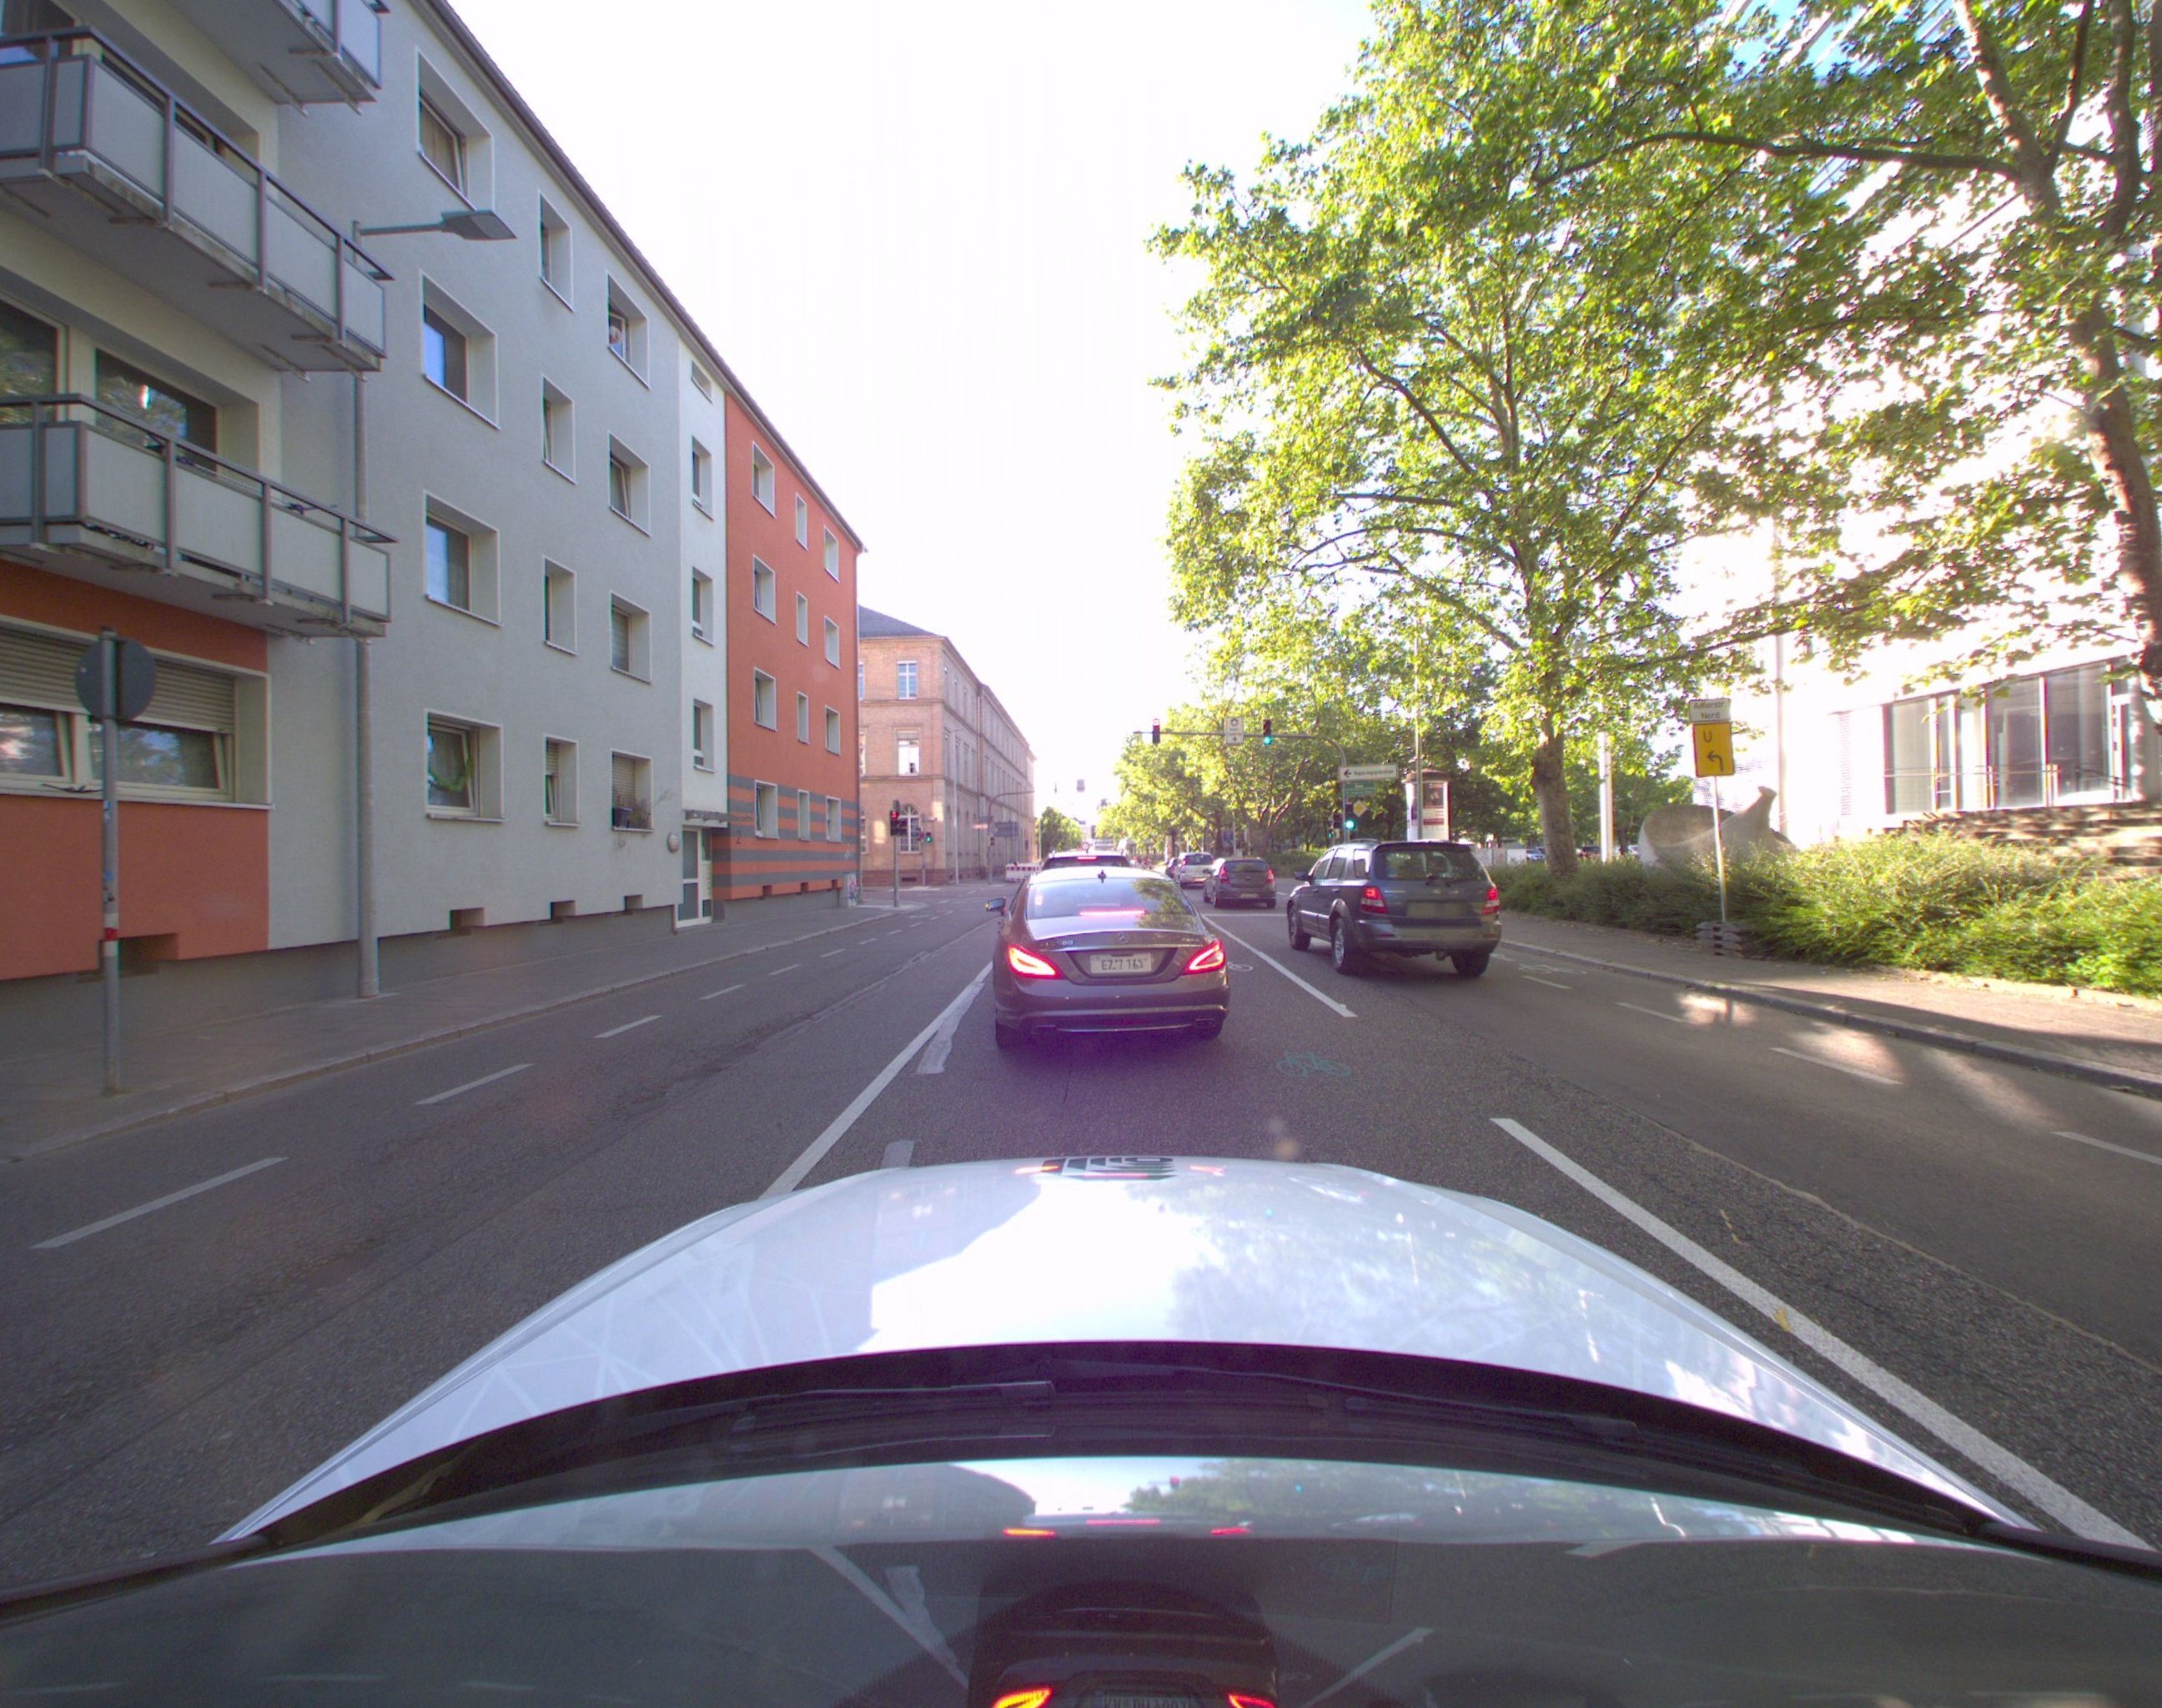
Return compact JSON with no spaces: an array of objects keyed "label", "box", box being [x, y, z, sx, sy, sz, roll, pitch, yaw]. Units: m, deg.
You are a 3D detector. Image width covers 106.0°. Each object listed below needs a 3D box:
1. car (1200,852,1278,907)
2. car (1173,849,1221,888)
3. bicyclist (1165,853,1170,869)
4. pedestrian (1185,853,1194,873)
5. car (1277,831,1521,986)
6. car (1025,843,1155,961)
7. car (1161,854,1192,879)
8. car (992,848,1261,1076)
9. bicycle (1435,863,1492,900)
[{"label":"car","box":[4.703,0.716,24.718,1.698,1.519,4.002,-1,0,2]},{"label":"car","box":[5.162,0.645,36.599,1.725,1.662,3.682,0,-1,2]},{"label":"bicyclist","box":[11.138,0.848,104.975,0.593,2.039,0.566,0,-1,-3]},{"label":"pedestrian","box":[9.519,0.791,71.425,0.634,1.760,0.698,0,-1,-2]},{"label":"car","box":[4.205,0.633,11.650,1.854,1.764,4.483,-1,0,2]},{"label":"car","box":[0.193,0.695,13.739,1.854,1.682,4.002,-1,0,2]},{"label":"car","box":[5.994,0.774,51.316,1.595,1.549,3.682,0,-1,2]},{"label":"car","box":[0.145,0.736,7.604,1.859,1.519,3.992,-1,0,-6]},{"label":"bicycle","box":[11.091,0.779,23.581,1.895,1.028,0.635,0,-1,-36]}]
